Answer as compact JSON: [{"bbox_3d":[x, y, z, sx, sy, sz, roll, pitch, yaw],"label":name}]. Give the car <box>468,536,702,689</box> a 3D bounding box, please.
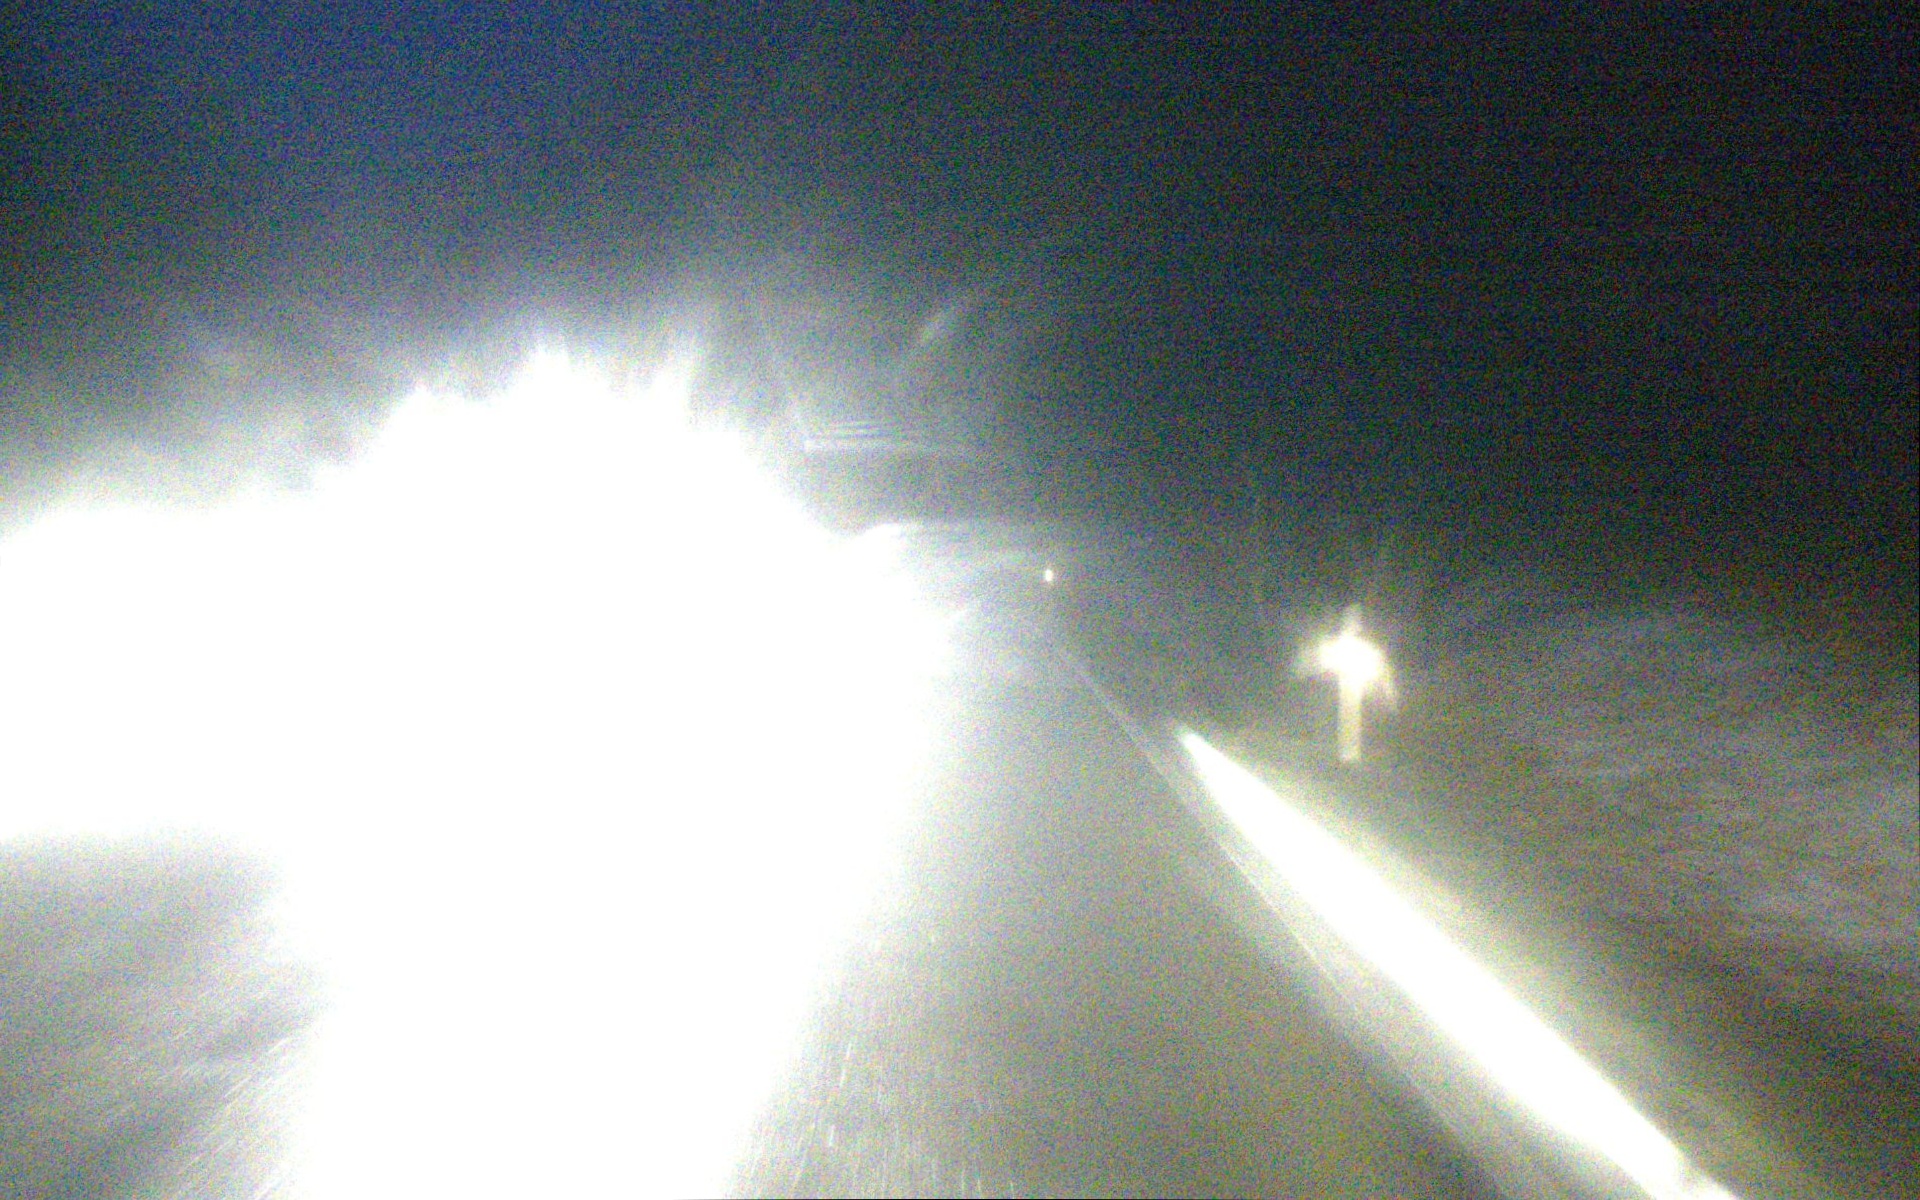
[{"bbox_3d":[-3.766,0.081,35.193,1.917,1.459,4.259,0,1,0],"label":"car"}]
